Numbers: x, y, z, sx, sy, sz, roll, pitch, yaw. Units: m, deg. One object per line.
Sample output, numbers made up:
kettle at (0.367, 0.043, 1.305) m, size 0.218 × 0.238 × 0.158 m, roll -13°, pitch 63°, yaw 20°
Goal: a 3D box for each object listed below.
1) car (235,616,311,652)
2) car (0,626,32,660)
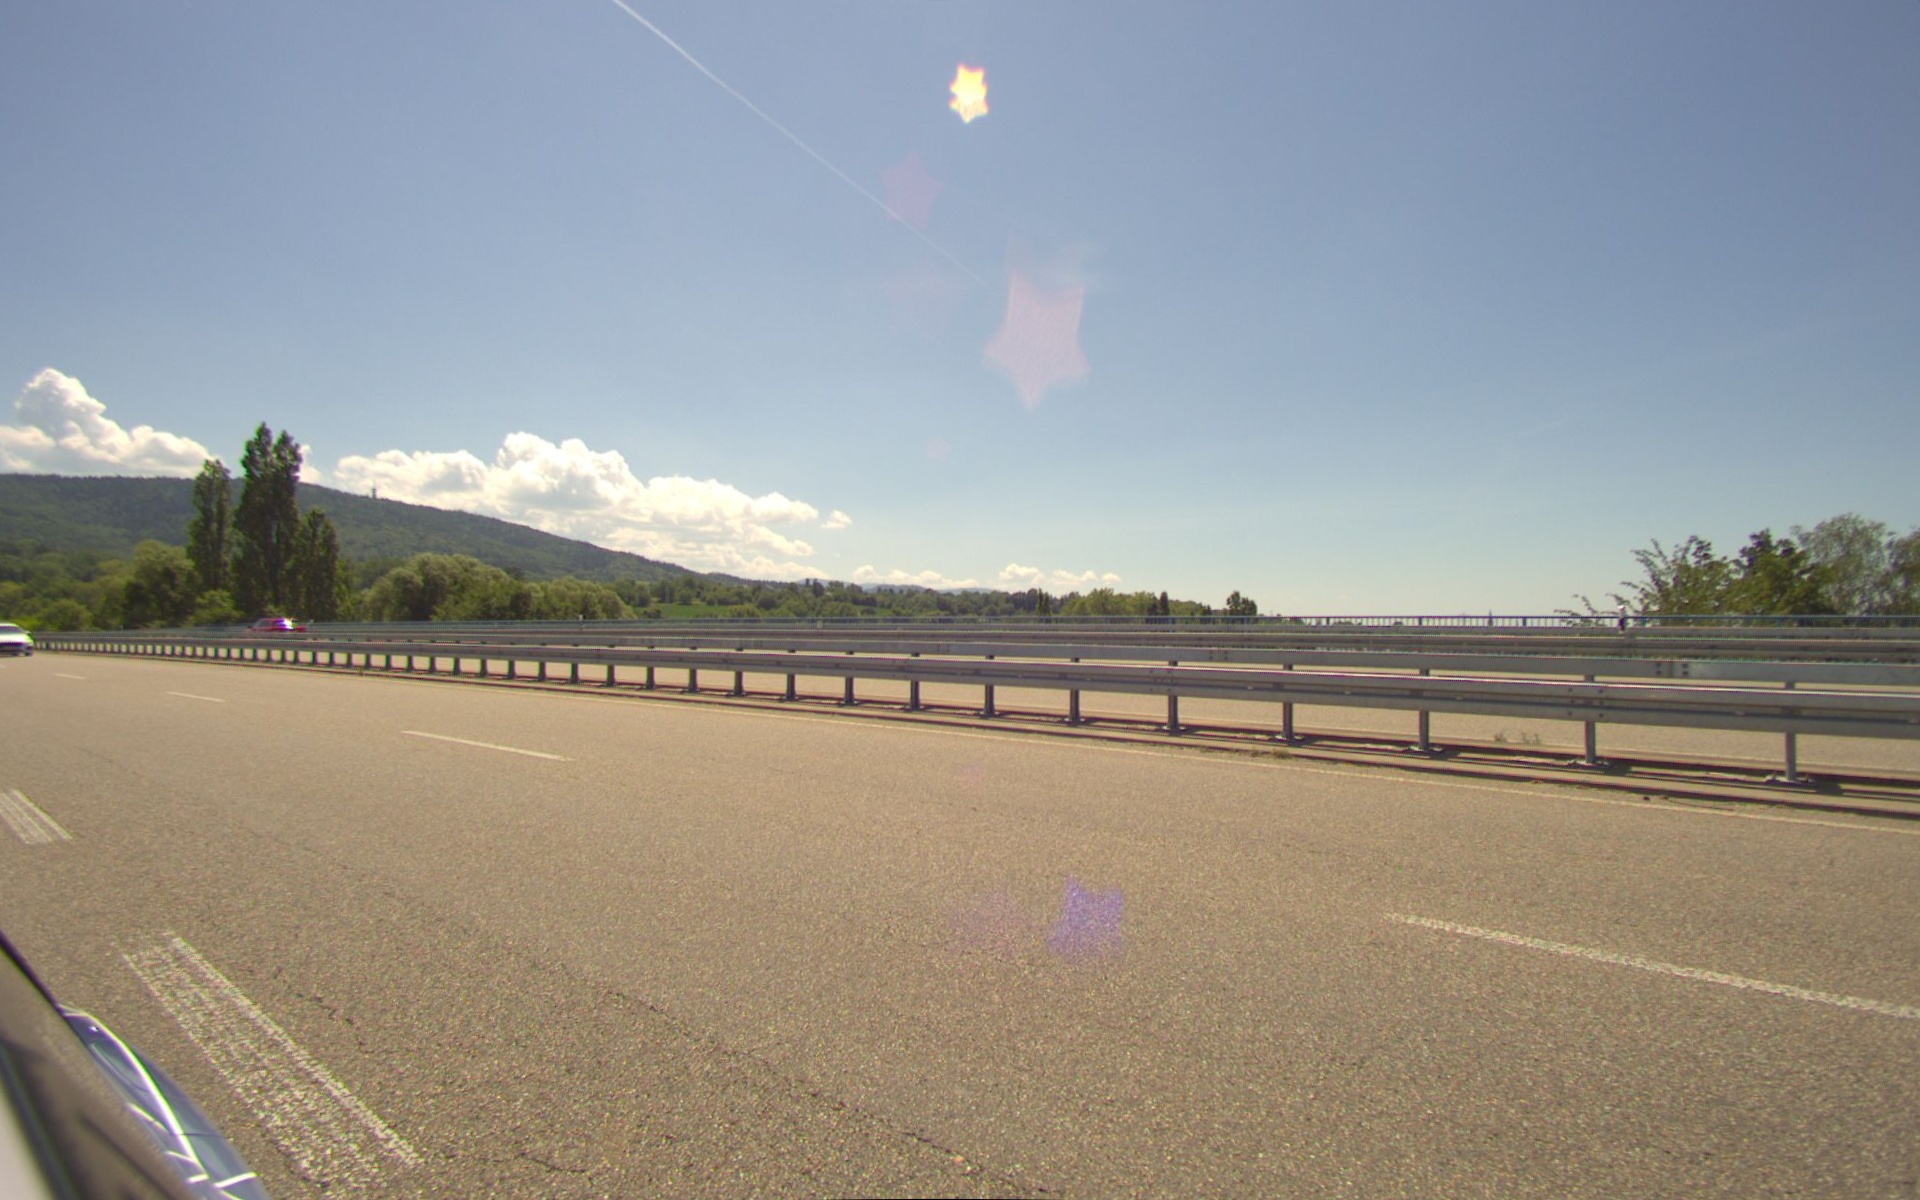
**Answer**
car at (-34.420, 1.653, 50.674) m, size 5.046 × 1.680 × 1.825 m, roll -1°, pitch -1°, yaw 40°
car at (-42.686, 1.886, 44.794) m, size 4.466 × 1.418 × 1.822 m, roll -1°, pitch 0°, yaw 40°
